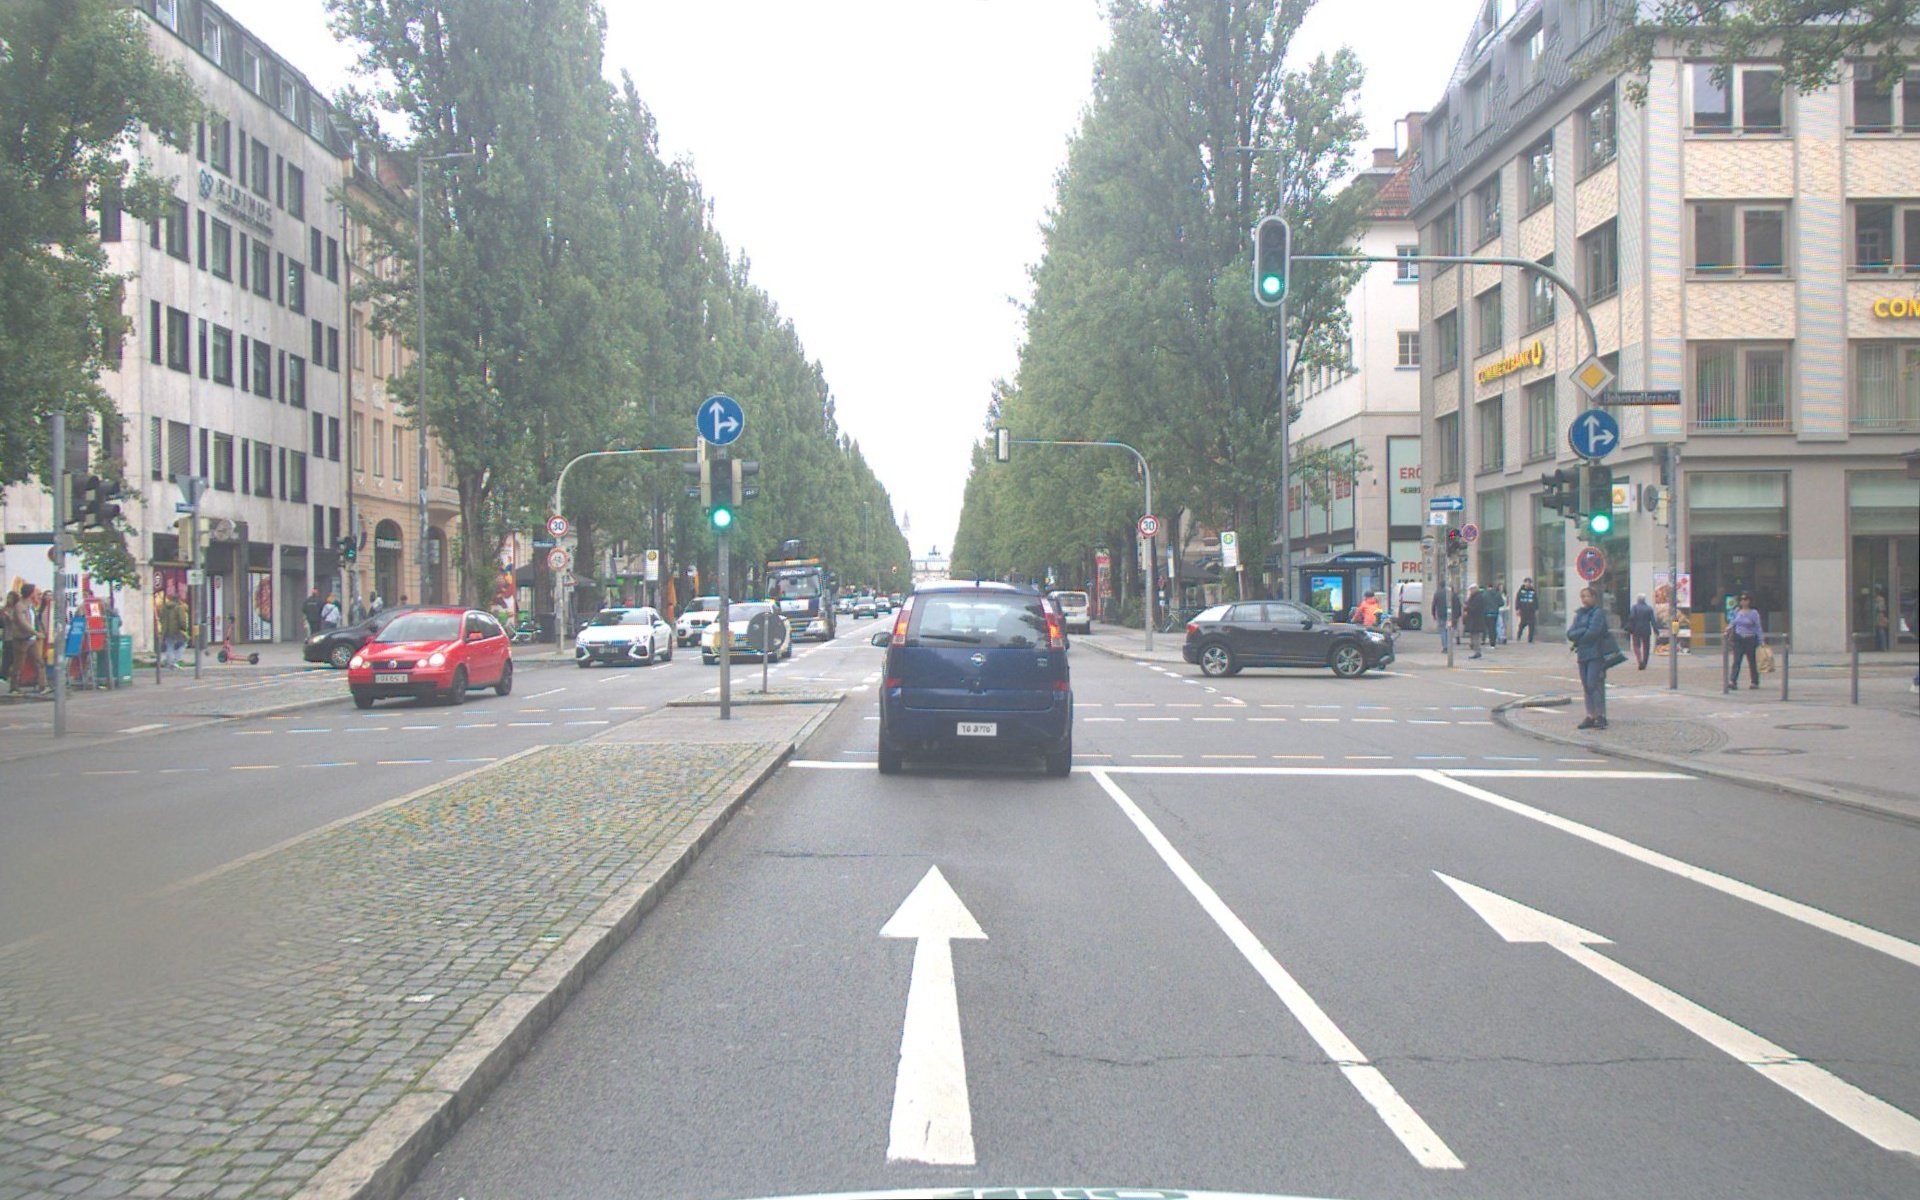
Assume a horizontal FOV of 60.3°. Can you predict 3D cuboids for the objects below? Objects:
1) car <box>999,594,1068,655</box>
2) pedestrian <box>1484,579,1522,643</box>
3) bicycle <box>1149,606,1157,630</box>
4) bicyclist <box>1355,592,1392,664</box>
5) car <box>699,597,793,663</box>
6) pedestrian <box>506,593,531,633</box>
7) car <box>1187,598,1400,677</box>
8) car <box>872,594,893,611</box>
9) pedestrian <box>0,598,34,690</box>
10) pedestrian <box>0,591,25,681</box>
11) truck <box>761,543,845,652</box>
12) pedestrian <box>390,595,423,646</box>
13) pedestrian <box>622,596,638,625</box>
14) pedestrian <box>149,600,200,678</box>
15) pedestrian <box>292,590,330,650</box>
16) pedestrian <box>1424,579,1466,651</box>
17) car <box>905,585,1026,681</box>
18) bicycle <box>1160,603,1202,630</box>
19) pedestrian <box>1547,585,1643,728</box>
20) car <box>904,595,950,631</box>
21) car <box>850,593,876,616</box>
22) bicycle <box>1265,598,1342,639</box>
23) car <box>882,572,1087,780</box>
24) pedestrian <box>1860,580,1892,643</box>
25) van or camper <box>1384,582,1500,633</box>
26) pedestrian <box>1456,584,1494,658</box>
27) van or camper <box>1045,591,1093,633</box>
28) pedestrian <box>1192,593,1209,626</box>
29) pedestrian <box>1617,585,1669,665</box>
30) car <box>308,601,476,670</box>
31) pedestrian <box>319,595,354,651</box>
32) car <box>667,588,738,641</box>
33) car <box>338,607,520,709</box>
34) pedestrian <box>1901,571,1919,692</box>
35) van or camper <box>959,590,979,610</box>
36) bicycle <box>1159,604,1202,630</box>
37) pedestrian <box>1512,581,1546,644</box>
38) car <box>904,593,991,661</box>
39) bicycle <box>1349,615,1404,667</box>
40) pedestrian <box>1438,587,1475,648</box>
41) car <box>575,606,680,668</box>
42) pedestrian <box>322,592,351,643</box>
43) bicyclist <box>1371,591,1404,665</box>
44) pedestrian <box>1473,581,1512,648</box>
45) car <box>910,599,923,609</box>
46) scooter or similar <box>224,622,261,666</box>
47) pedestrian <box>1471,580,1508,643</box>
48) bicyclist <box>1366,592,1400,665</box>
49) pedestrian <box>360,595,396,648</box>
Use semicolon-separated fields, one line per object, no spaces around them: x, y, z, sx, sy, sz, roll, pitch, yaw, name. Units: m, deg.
2.063;0.661;47.422;1.671;1.601;3.999;-1;1;-2;car
15.425;0.304;47.041;0.734;1.788;1.017;-1;0;0;pedestrian
8.787;0.832;75.408;0.357;1.056;1.732;-1;0;7;bicycle
9.426;0.632;37.734;0.609;1.616;0.753;-1;0;-2;bicyclist
-5.390;0.717;42.241;1.806;1.528;4.985;-1;0;-1;car
-20.004;0.593;74.972;0.826;1.774;0.954;1;-1;0;pedestrian
6.619;0.725;32.786;3.904;1.487;1.760;-1;0;20;car
-7.737;0.283;165.351;1.896;1.652;4.335;-1;0;-1;car
-17.908;0.820;31.152;0.616;1.718;0.519;1;-1;0;pedestrian
-18.375;0.685;31.736;0.574;1.720;0.514;-1;0;-1;pedestrian
-5.764;-0.100;61.725;2.413;3.734;8.438;-1;0;-1;truck
-18.390;0.675;54.952;0.762;1.647;0.934;-1;0;-1;pedestrian
-19.322;0.594;96.864;0.719;1.702;0.952;-1;0;-1;pedestrian
-18.117;0.886;38.149;0.712;1.771;0.942;1;-1;-1;pedestrian
-20.226;0.614;51.542;0.783;1.819;0.911;1;0;-1;pedestrian
12.698;0.393;43.302;0.801;1.849;0.890;0;0;-3;pedestrian
0.025;0.529;28.911;1.953;1.524;3.999;-1;0;-2;car
9.400;0.703;70.371;1.707;1.130;0.447;-1;0;-11;bicycle
7.478;0.648;19.506;0.750;1.638;0.863;-1;0;-5;pedestrian
-1.492;0.547;73.842;1.953;1.524;3.999;-1;0;-2;car
-7.567;0.355;129.403;1.874;1.710;4.585;-1;0;-1;car
10.874;0.582;52.375;2.295;1.274;0.633;0;0;-2;bicycle
0.140;0.606;15.318;1.647;1.670;3.999;0;0;-2;car
22.964;0.295;41.468;0.434;1.558;0.584;-1;0;-4;pedestrian
18.699;0.300;64.298;4.018;1.899;1.899;1;-1;3;van or camper
12.569;0.500;40.383;0.694;1.788;0.752;-1;0;0;pedestrian
5.043;0.553;77.140;1.830;1.916;4.902;0;0;-1;van or camper
13.945;0.553;95.856;0.809;1.873;1.099;-1;0;2;pedestrian
14.552;0.540;35.263;0.734;1.665;0.734;-2;-2;1;pedestrian
-13.305;0.800;38.842;3.637;1.501;1.762;-1;0;-20;car
-19.444;0.708;51.572;0.717;1.711;0.977;1;0;-1;pedestrian
-9.090;0.494;58.716;1.800;1.746;4.635;-1;0;-1;car
-8.389;0.864;26.472;1.701;1.462;3.823;-1;0;-1;car
14.073;0.449;23.728;0.844;1.732;0.663;-2;-3;40;pedestrian
1.131;-0.003;213.592;2.426;2.626;5.843;-1;0;-1;van or camper
9.287;0.693;69.533;1.726;1.062;0.483;-1;0;-11;bicycle
16.232;0.355;47.200;0.734;1.789;0.711;0;0;0;pedestrian
-0.348;0.605;39.524;1.953;1.524;3.999;-1;0;-2;car
9.438;0.912;37.538;0.614;1.106;2.263;-1;0;-2;bicycle
14.188;0.486;47.261;0.734;1.706;0.963;-1;0;0;pedestrian
-8.400;0.894;42.107;1.786;1.432;4.631;-1;0;-1;car
-22.274;0.620;59.094;0.684;1.819;0.820;-1;0;0;pedestrian
9.462;0.625;36.606;0.609;1.616;0.391;-1;0;-2;bicyclist
14.435;0.396;44.831;0.734;1.789;0.859;-1;-2;0;pedestrian
-6.193;0.536;236.188;1.922;1.424;3.777;-1;0;-2;car
-18.598;1.137;42.874;0.798;1.112;0.274;1;-1;-5;scooter or similar
15.051;0.327;47.054;0.734;1.748;0.963;-1;0;0;pedestrian
9.445;0.627;36.952;0.609;1.616;0.481;-1;0;-2;bicyclist
-18.007;0.661;51.189;0.735;1.594;0.989;-1;0;0;pedestrian
